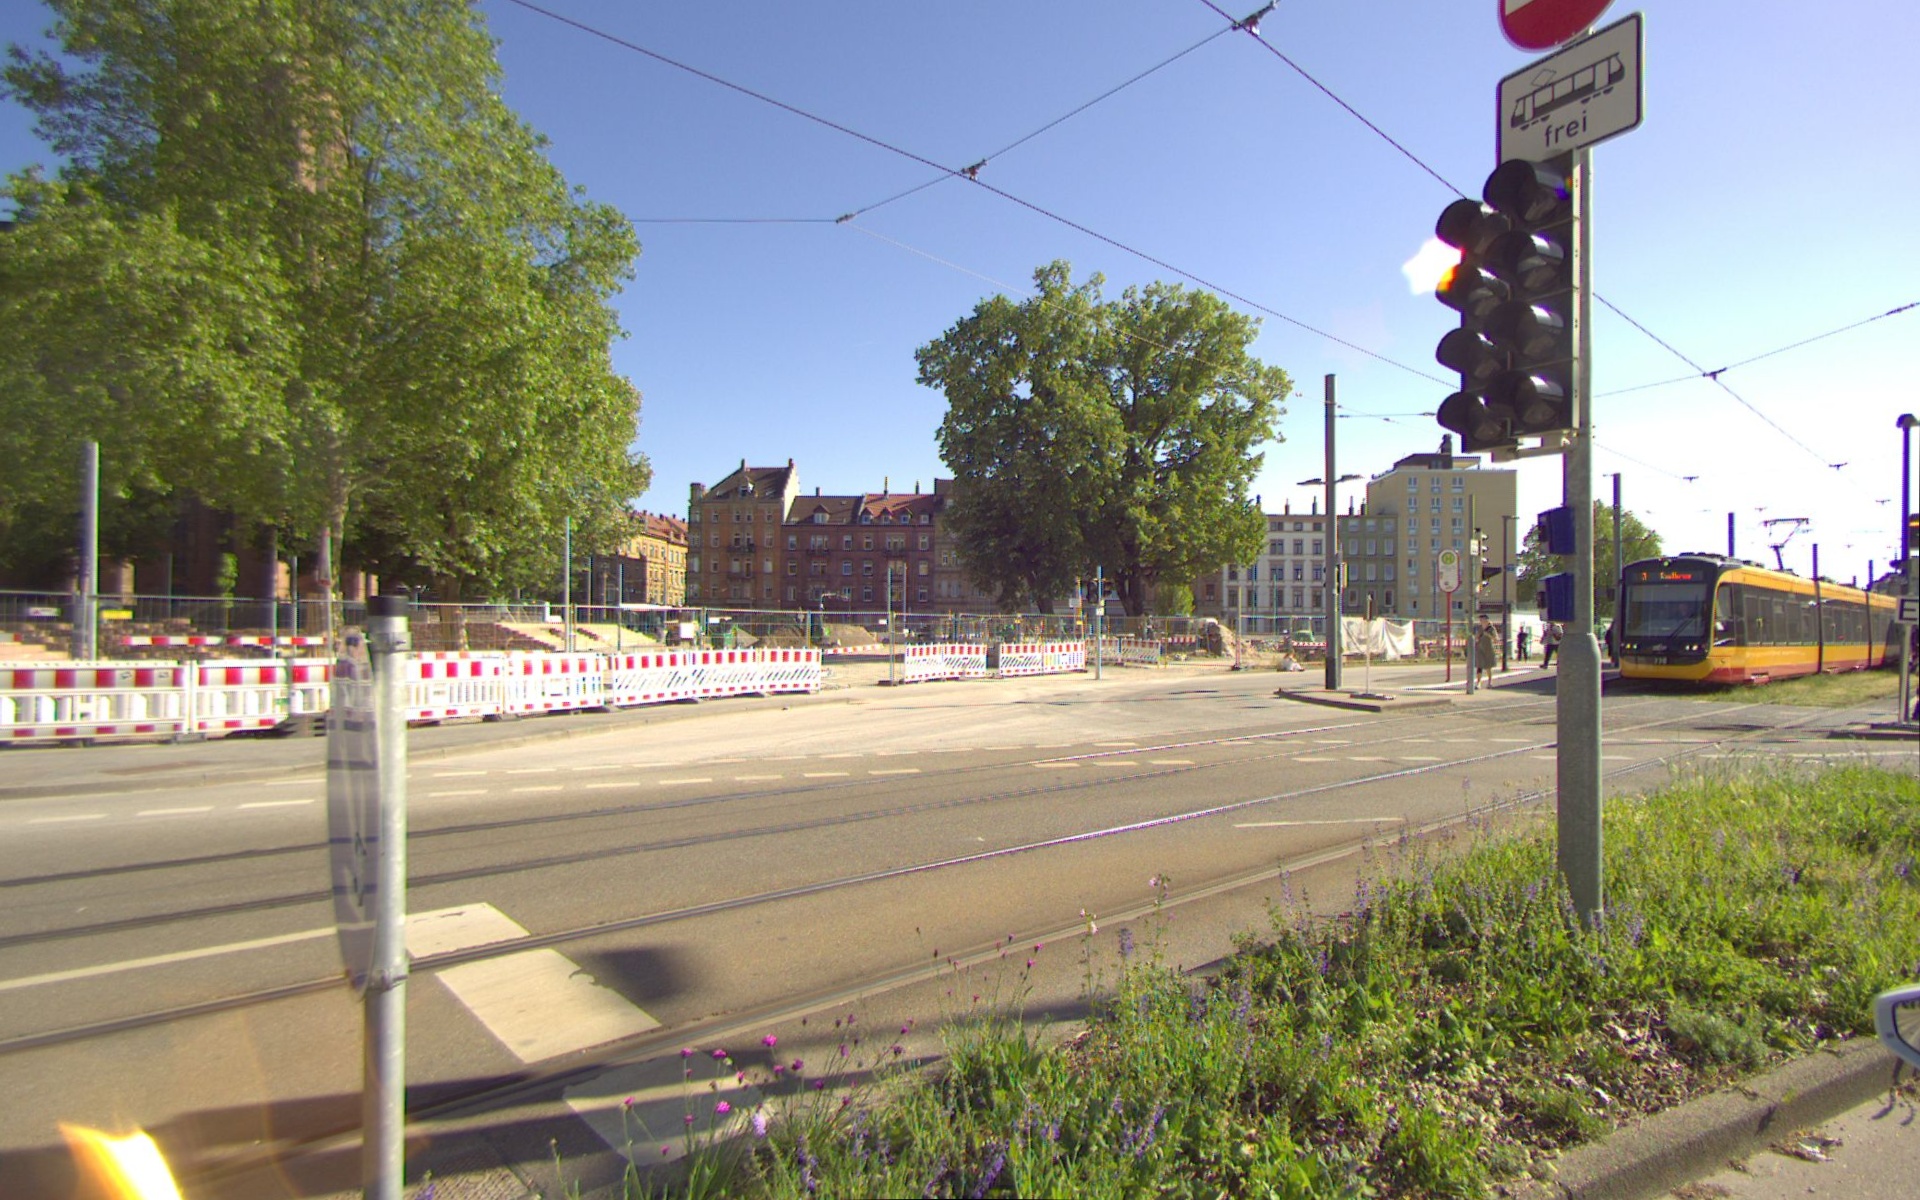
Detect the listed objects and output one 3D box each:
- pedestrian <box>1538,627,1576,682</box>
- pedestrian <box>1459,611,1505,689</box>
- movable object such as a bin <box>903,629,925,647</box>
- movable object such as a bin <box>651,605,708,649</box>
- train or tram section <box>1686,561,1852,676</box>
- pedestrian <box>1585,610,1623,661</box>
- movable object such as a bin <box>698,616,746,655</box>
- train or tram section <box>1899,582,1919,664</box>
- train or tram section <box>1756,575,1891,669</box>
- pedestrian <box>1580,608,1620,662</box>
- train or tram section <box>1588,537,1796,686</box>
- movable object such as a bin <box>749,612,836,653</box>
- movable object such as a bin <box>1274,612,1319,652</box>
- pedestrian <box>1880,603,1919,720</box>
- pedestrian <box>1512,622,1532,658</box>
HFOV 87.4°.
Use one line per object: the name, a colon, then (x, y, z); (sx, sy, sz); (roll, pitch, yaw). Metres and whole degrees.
pedestrian: (19.735, 1.787, 33.196); (0.853, 1.791, 0.967); (-1, -2, 45)
pedestrian: (13.078, 1.231, 25.143); (0.895, 1.875, 0.754); (-2, 1, -43)
movable object such as a bin: (-4.467, 3.707, 98.310); (1.715, 1.702, 3.803); (0, -1, 4)
movable object such as a bin: (-21.689, 2.089, 78.014); (3.059, 3.215, 5.246); (2, -1, -3)
train or tram section: (28.831, 0.684, 35.544); (10.529, 3.554, 2.792); (2, -1, -41)
pedestrian: (26.443, 1.462, 41.258); (0.989, 2.040, 0.954); (2, -1, -35)
movable object such as a bin: (-15.685, 2.313, 66.407); (1.856, 2.377, 4.231); (2, -1, 3)
train or tram section: (46.014, 1.126, 46.519); (10.464, 3.554, 2.845); (2, -1, -42)
train or tram section: (36.862, 0.951, 42.665); (11.123, 3.554, 2.792); (2, -1, -41)
pedestrian: (24.587, 1.345, 38.593); (0.989, 2.040, 0.954); (2, -1, -35)
train or tram section: (21.066, 0.419, 28.564); (10.403, 3.554, 2.792); (2, -2, -43)
movable object such as a bin: (-12.305, 2.370, 73.936); (5.966, 2.795, 1.894); (2, -1, 0)
movable object such as a bin: (25.409, 2.401, 75.992); (1.798, 2.833, 3.999); (2, -1, -3)
pedestrian: (15.621, 1.001, 16.241); (1.004, 1.856, 0.757); (1, -1, 39)
pedestrian: (28.042, 1.977, 50.104); (0.794, 1.791, 0.661); (2, -2, -42)
